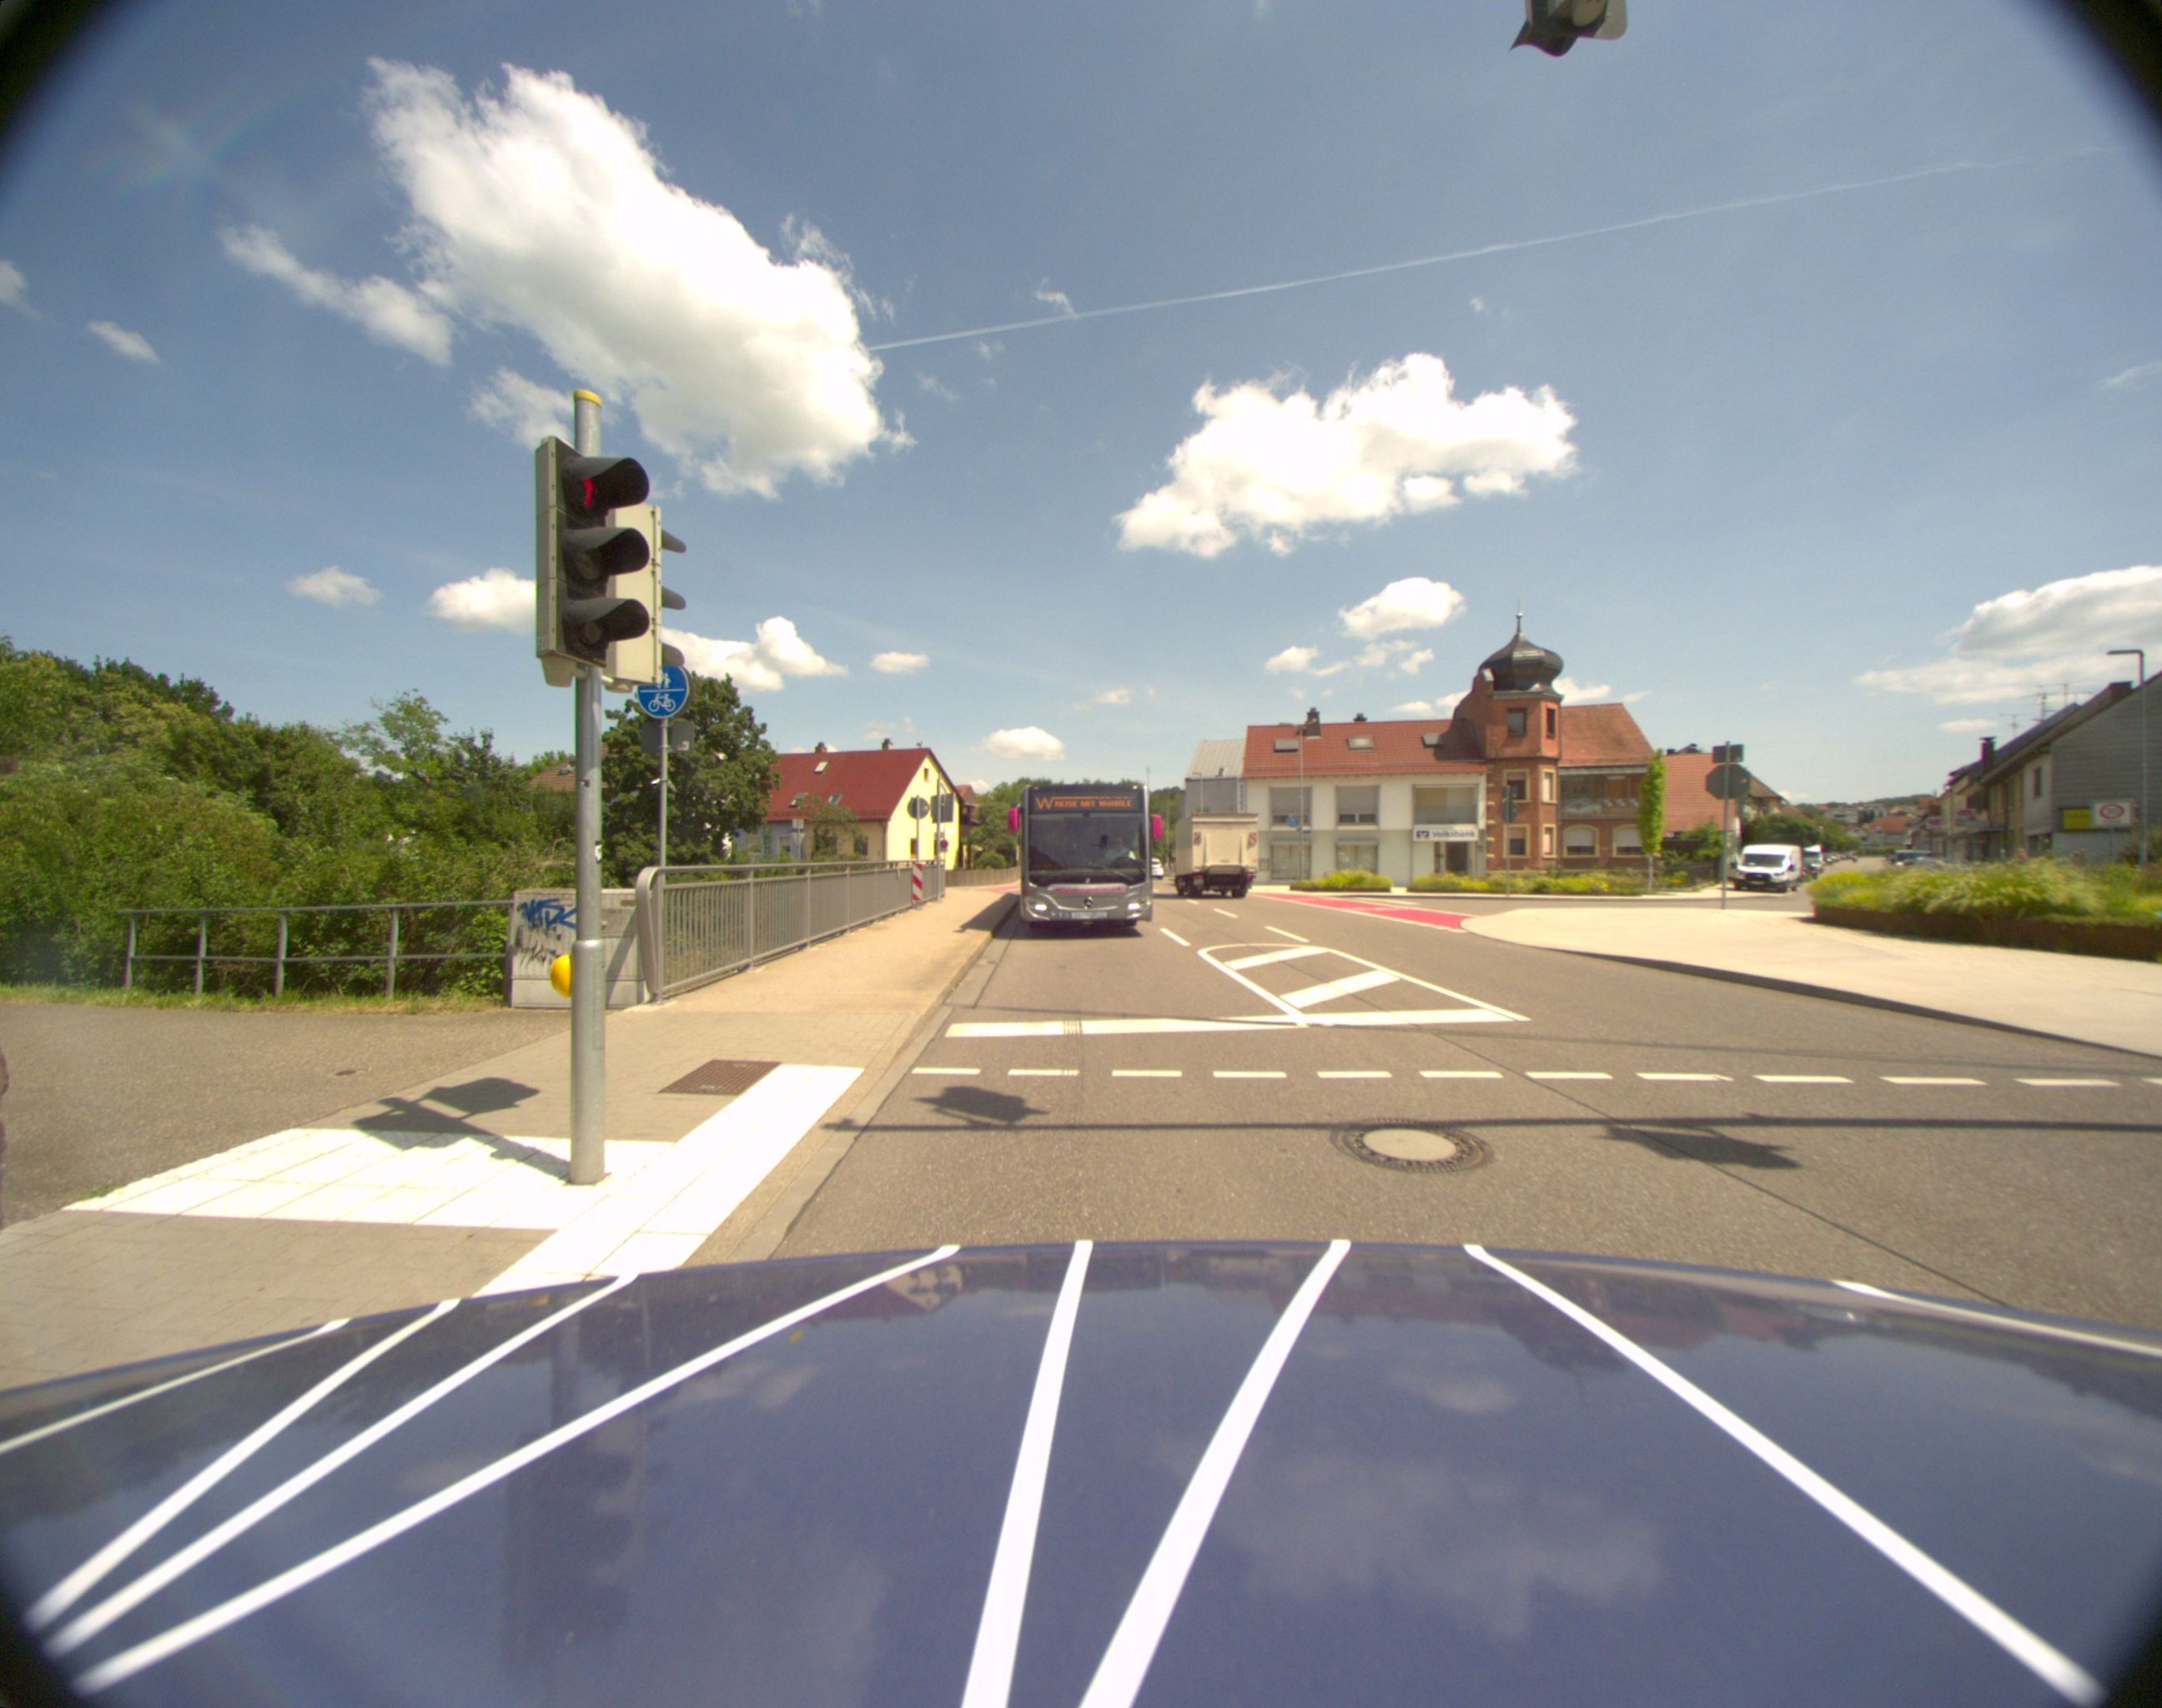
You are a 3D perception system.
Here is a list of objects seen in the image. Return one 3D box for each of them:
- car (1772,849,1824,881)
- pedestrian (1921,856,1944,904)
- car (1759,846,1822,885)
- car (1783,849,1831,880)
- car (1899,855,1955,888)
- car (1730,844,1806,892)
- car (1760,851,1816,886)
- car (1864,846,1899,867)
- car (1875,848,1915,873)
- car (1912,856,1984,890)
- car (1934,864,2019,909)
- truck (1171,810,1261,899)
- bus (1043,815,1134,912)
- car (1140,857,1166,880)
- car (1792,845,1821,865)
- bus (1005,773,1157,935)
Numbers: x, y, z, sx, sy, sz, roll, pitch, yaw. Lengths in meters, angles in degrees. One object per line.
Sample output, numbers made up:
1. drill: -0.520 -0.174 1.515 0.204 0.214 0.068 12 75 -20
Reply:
1. car: 54.270 0.805 57.469 5.122 2.332 2.167 0 1 -40
2. pedestrian: 31.034 0.931 27.699 0.616 1.738 0.505 0 1 -37
3. car: 44.666 0.687 47.799 5.122 2.332 2.167 0 1 -40
4. car: 58.717 0.835 61.429 5.122 2.332 2.167 0 1 -40
5. car: 51.209 1.003 46.063 1.918 1.867 4.009 2 1 44
6. car: 35.996 0.696 39.747 5.122 2.332 2.167 0 1 -40
7. car: 49.451 0.971 53.140 5.122 2.332 2.167 0 1 -40
8. car: 80.528 0.227 76.480 1.994 2.002 4.009 2 1 42
9. car: 62.462 0.496 58.350 1.862 1.839 4.009 2 1 44
10. car: 48.083 1.017 42.233 2.063 1.718 4.009 2 1 41
11. car: 31.655 1.083 26.921 4.008 1.455 1.856 0 0 -41
12. truck: 5.247 0.073 30.616 2.508 3.216 6.040 0 -1 0
13. bus: 0.286 0.430 28.171 2.755 2.949 9.284 1 -2 1
14. car: 5.657 1.123 60.020 1.819 1.640 4.000 -1 1 2
15. car: 76.421 0.126 80.043 1.994 2.002 4.009 2 1 42
16. bus: 0.122 0.144 18.778 2.755 2.949 9.284 1 -2 1
